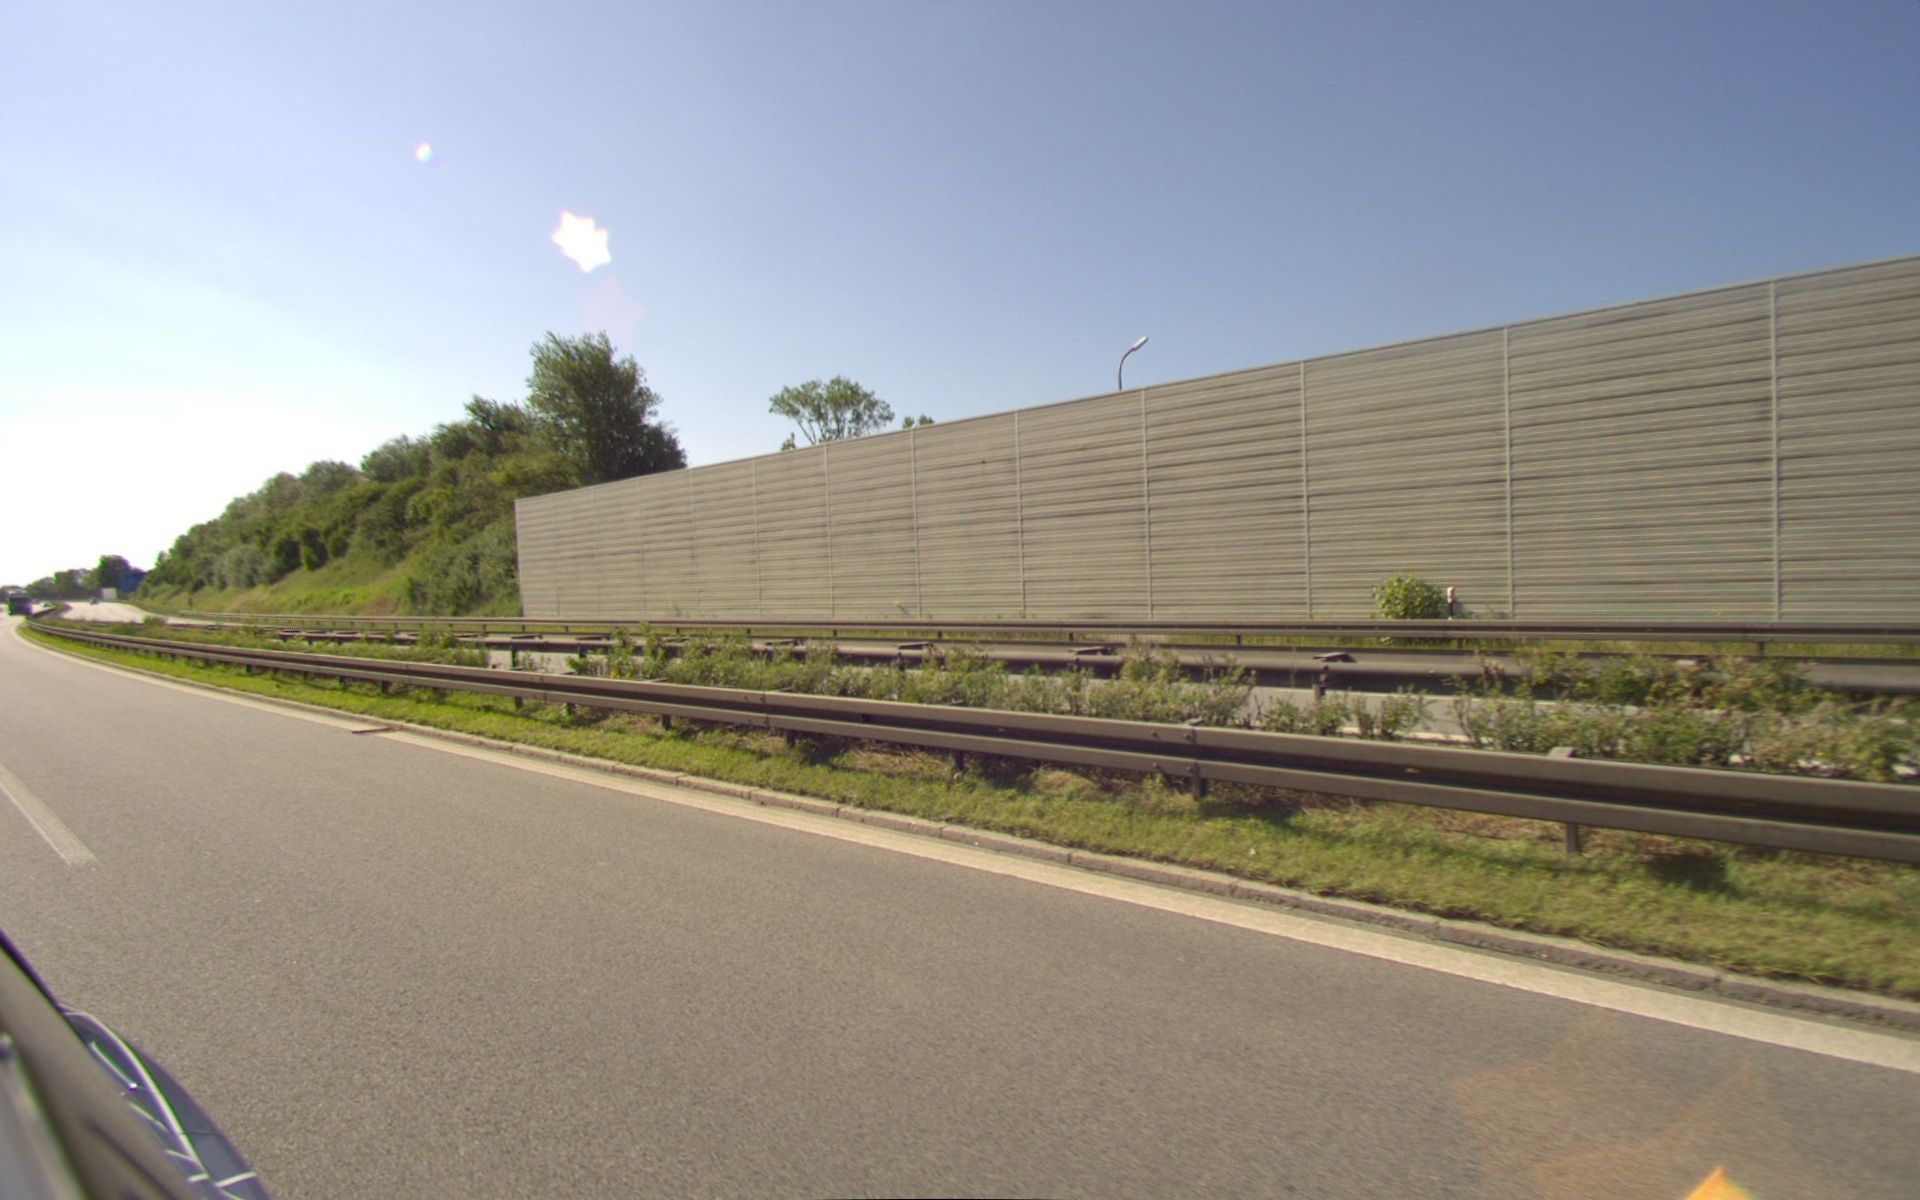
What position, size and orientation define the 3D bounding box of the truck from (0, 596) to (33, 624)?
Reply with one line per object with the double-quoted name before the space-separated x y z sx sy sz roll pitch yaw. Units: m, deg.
"truck" -149.113 1.579 159.631 12.087 4.243 3.388 -1 0 43
